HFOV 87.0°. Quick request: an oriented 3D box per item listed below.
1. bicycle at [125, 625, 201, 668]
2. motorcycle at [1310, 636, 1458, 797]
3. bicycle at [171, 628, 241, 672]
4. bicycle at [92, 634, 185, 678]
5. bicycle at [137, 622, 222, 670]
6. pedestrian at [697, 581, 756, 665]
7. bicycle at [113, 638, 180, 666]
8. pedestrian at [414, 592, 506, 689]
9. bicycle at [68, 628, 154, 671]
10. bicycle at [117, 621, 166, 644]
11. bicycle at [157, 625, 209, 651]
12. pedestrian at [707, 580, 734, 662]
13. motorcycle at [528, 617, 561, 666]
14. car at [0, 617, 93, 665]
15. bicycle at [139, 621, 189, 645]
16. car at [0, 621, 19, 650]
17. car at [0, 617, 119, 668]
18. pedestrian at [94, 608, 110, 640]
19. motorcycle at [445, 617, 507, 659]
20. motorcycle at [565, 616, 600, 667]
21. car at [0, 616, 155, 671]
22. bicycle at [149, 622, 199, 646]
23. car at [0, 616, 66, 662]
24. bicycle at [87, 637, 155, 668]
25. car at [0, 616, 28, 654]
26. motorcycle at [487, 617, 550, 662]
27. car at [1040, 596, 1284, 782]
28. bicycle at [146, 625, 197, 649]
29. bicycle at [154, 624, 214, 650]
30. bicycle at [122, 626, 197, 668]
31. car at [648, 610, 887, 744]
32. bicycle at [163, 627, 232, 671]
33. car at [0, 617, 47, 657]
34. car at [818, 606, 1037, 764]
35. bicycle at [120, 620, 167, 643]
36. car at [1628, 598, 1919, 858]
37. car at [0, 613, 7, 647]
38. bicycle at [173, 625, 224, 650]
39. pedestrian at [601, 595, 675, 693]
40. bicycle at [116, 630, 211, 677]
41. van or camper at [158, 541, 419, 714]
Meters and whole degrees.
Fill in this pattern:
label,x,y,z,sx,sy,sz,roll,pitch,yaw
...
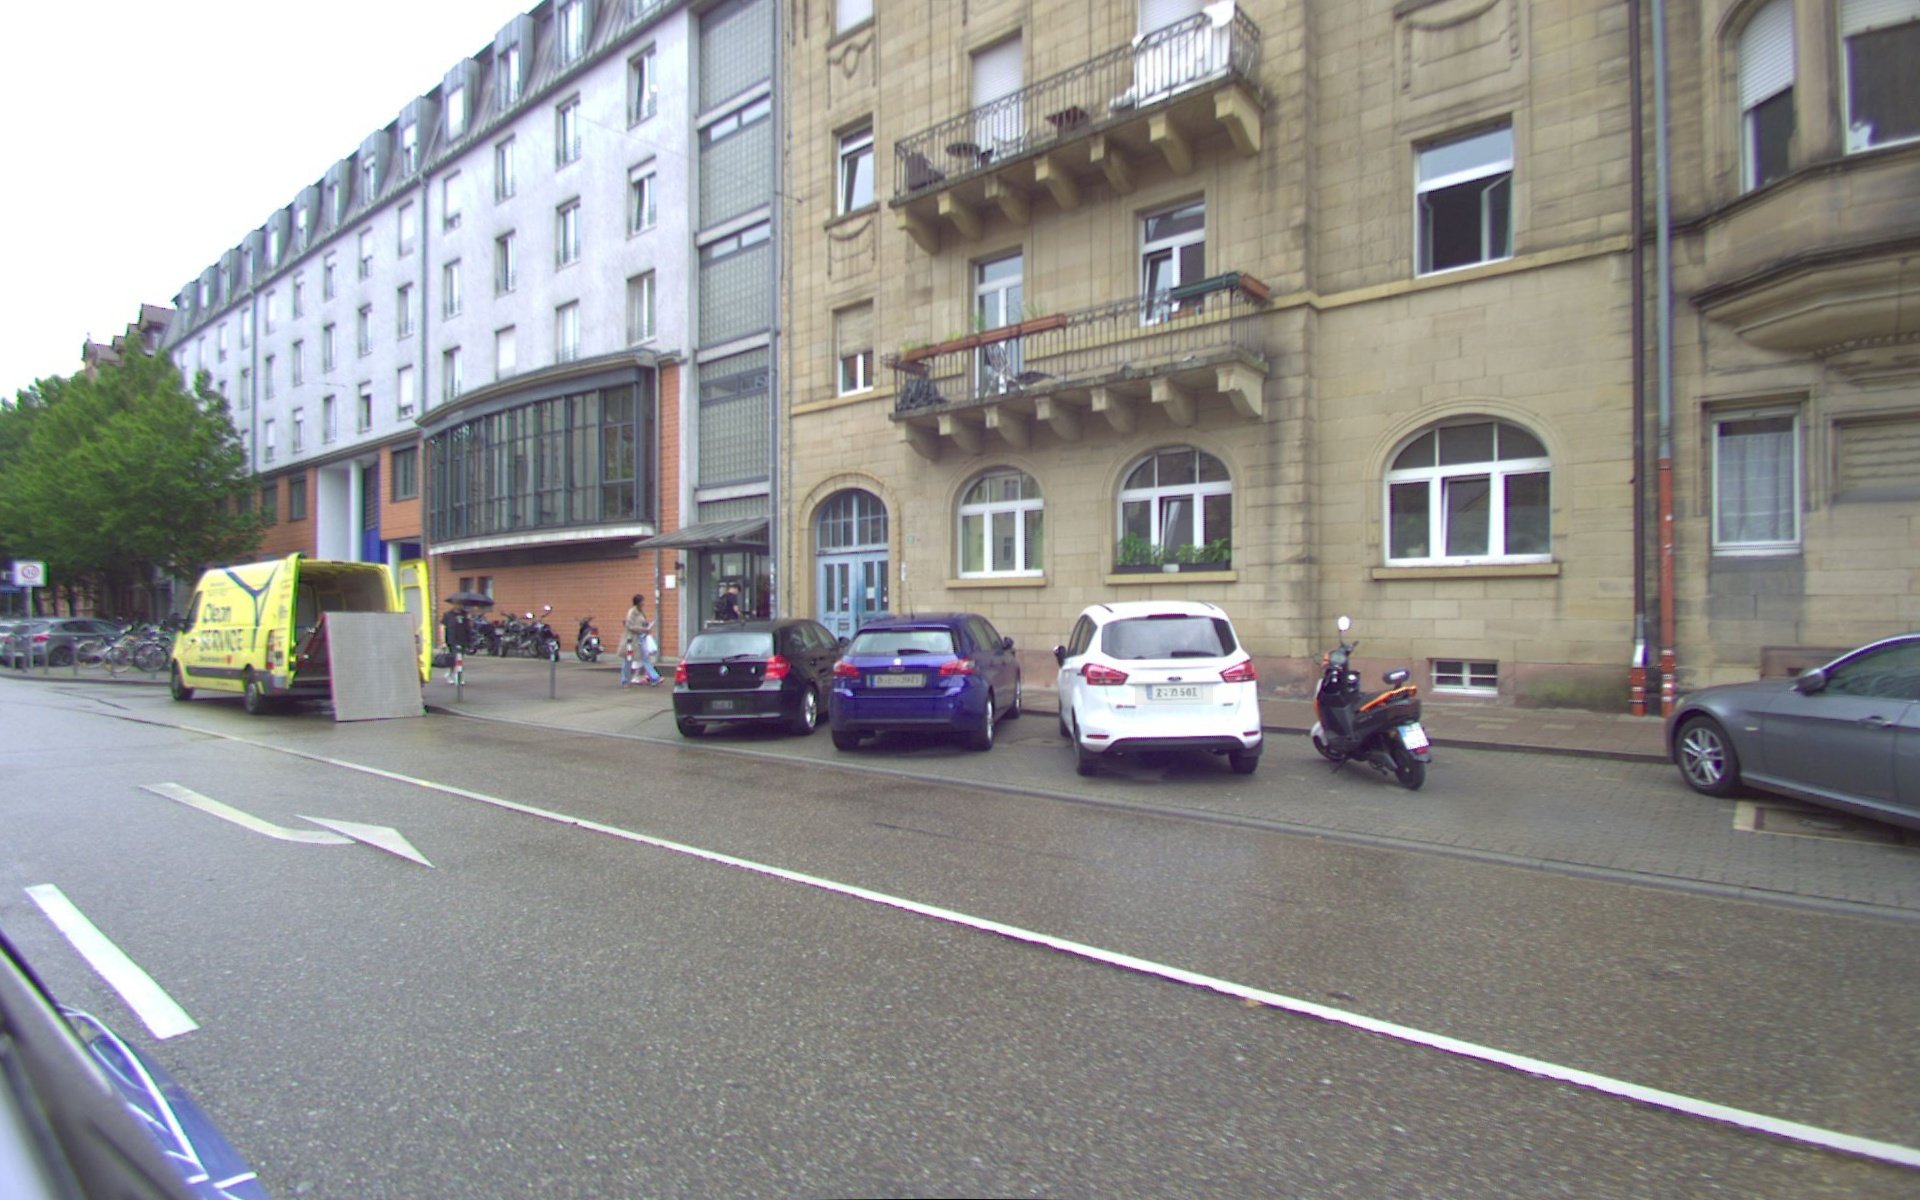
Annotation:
label,x,y,z,sx,sy,sz,roll,pitch,yaw
bicycle,-22.194,1.280,28.201,0.518,1.114,1.596,-1,0,27
motorcycle,3.666,0.950,8.916,0.626,1.170,1.870,0,1,4
bicycle,-19.832,1.304,26.630,0.418,1.072,1.442,-1,0,44
bicycle,-20.951,1.408,25.827,0.519,1.001,1.778,-1,0,38
bicycle,-21.206,1.225,27.535,0.518,1.203,1.797,-1,0,27
pedestrian,-5.011,0.491,21.749,0.785,1.741,0.997,-1,-2,32
bicycle,-23.529,1.497,29.275,0.497,0.727,1.454,-1,0,43
pedestrian,-10.050,0.789,20.348,1.061,1.859,1.336,-1,0,41
bicycle,-23.724,1.363,28.306,0.472,1.114,1.791,-1,0,36
bicycle,-35.510,1.398,43.931,0.464,0.992,1.573,-1,-2,32
bicycle,-30.845,1.505,40.191,0.444,0.992,1.573,-1,-2,32
pedestrian,-5.277,0.468,22.304,0.467,1.761,0.608,1,-2,-23
motorcycle,-10.679,1.031,25.961,0.516,1.190,2.010,0,-1,-30
car,-31.328,1.368,34.221,1.432,1.514,3.078,-1,-1,0
bicycle,-33.572,1.400,42.698,0.464,0.992,1.573,-1,-2,32
car,-50.413,1.804,51.604,1.663,1.502,3.798,1,-2,-9
car,-29.244,1.330,32.647,1.436,1.514,3.070,-1,-1,9
pedestrian,-44.391,1.239,52.359,0.533,1.609,0.564,-1,-2,41
motorcycle,-13.922,1.069,29.068,2.273,1.165,0.827,-1,-1,42
motorcycle,-9.315,1.002,24.969,0.516,1.190,1.763,0,-1,-30
car,-26.962,1.276,30.816,1.721,1.514,3.613,0,0,9
bicycle,-32.621,1.400,42.018,0.444,0.992,1.573,-1,-2,32
car,-33.730,1.365,35.850,1.432,1.564,3.078,-1,-1,0
bicycle,-24.263,1.499,29.276,0.497,0.811,1.454,-1,0,43
car,-40.149,1.445,41.531,1.138,1.567,2.672,-1,-1,11
motorcycle,-12.081,1.061,27.667,2.203,1.165,0.643,-1,-1,39
car,1.880,0.805,10.646,1.774,1.567,4.042,0,-1,1
bicycle,-32.290,1.507,41.447,0.444,0.992,1.573,-1,-2,32
bicycle,-30.505,1.440,39.822,0.444,0.992,1.830,-1,-2,32
bicycle,-22.689,1.325,28.704,0.519,1.114,1.591,-1,0,36
car,-2.399,0.935,13.717,1.780,1.523,4.028,0,-1,12
bicycle,-20.423,1.300,27.132,1.439,1.111,0.462,0,0,-35
car,-37.971,1.458,39.717,1.358,1.567,2.970,-1,-1,12
car,-0.202,0.904,12.326,1.780,1.585,4.028,0,-1,12
bicycle,-36.757,1.411,45.595,0.464,0.992,1.573,-1,-2,32
car,6.585,0.775,6.324,1.664,1.557,4.550,0,-1,-2
car,-55.583,1.637,55.946,1.666,1.910,4.329,0,-2,0
bicycle,-30.854,1.524,41.017,0.444,0.992,1.573,-1,-2,32
pedestrian,-5.942,0.790,18.644,1.171,1.741,0.777,-1,0,39
bicycle,-20.102,1.334,25.565,1.832,1.081,0.610,0,0,-44
van or camper,-12.180,0.489,18.165,5.935,2.631,2.174,-1,-2,39
